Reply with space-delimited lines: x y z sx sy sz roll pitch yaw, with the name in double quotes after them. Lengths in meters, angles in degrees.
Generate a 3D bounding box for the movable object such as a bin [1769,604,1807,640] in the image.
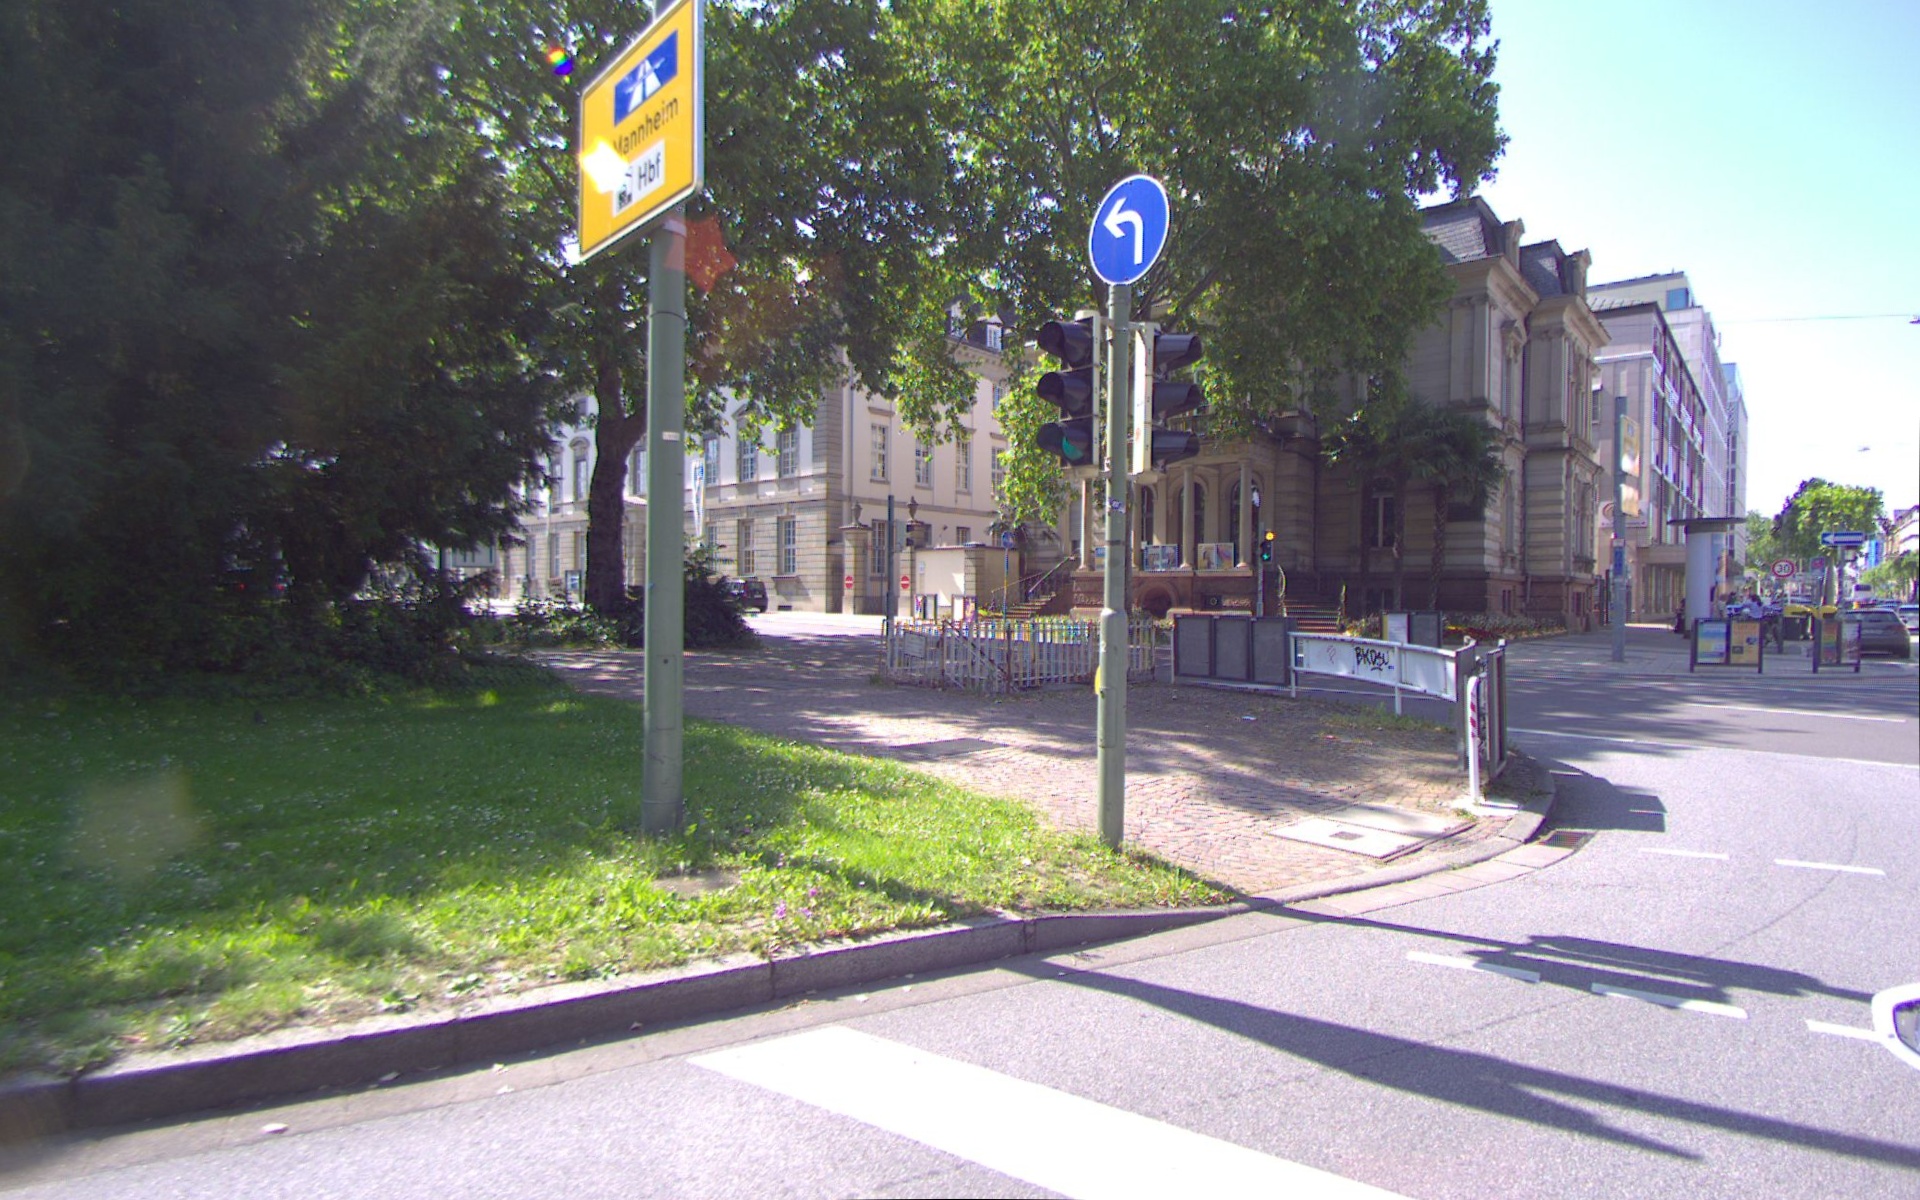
36.405 0.940 44.149 1.429 1.470 1.112 -1 3 -44 "movable object such as a bin"

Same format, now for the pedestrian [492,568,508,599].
-30.722 -1.071 67.064 0.691 2.040 0.825 2 -1 -41 "pedestrian"

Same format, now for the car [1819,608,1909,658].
27.310 0.942 30.436 1.914 1.372 4.227 0 0 41 "car"

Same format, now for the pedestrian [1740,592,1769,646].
25.869 0.623 32.708 0.687 1.717 0.687 0 -1 43 "pedestrian"

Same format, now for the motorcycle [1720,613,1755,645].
25.881 0.959 33.420 2.143 1.011 0.450 1 1 -41 "motorcycle"

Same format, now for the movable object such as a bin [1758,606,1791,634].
40.082 0.978 49.445 1.194 1.317 1.074 3 3 40 "movable object such as a bin"

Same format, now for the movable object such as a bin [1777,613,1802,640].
35.468 1.121 42.961 0.712 1.113 0.654 2 3 33 "movable object such as a bin"

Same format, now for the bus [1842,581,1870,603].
149.753 -1.301 167.924 2.735 3.653 8.939 0 0 37 "bus"

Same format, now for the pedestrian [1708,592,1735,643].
25.566 0.600 33.723 0.929 1.687 0.544 2 -1 -41 "pedestrian"

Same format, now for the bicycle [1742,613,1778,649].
26.135 1.023 32.792 2.224 1.135 0.426 2 1 -39 "bicycle"

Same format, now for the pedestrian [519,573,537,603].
-25.760 -0.705 59.930 0.823 1.811 0.693 1 1 41 "pedestrian"

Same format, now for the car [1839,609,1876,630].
66.381 1.452 74.338 1.840 1.460 3.982 1 -1 39 "car"

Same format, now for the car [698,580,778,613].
-10.871 -0.218 49.105 4.001 1.515 1.924 2 2 44 "car"

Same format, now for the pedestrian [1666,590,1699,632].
31.702 0.465 44.102 0.982 1.797 0.786 1 0 20 "pedestrian"

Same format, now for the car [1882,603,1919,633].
47.229 0.891 49.828 1.840 1.460 3.984 1 0 38 "car"

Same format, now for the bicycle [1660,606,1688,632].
31.453 0.826 44.280 0.481 1.076 2.027 1 0 20 "bicycle"

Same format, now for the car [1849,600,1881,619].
73.179 0.745 81.284 1.722 1.460 3.981 0 0 39 "car"

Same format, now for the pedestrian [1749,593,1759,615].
62.776 0.323 79.410 0.558 1.679 0.634 0 1 37 "pedestrian"

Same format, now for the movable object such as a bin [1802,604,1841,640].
37.175 0.939 43.337 1.429 1.470 1.112 -1 3 -44 "movable object such as a bin"
